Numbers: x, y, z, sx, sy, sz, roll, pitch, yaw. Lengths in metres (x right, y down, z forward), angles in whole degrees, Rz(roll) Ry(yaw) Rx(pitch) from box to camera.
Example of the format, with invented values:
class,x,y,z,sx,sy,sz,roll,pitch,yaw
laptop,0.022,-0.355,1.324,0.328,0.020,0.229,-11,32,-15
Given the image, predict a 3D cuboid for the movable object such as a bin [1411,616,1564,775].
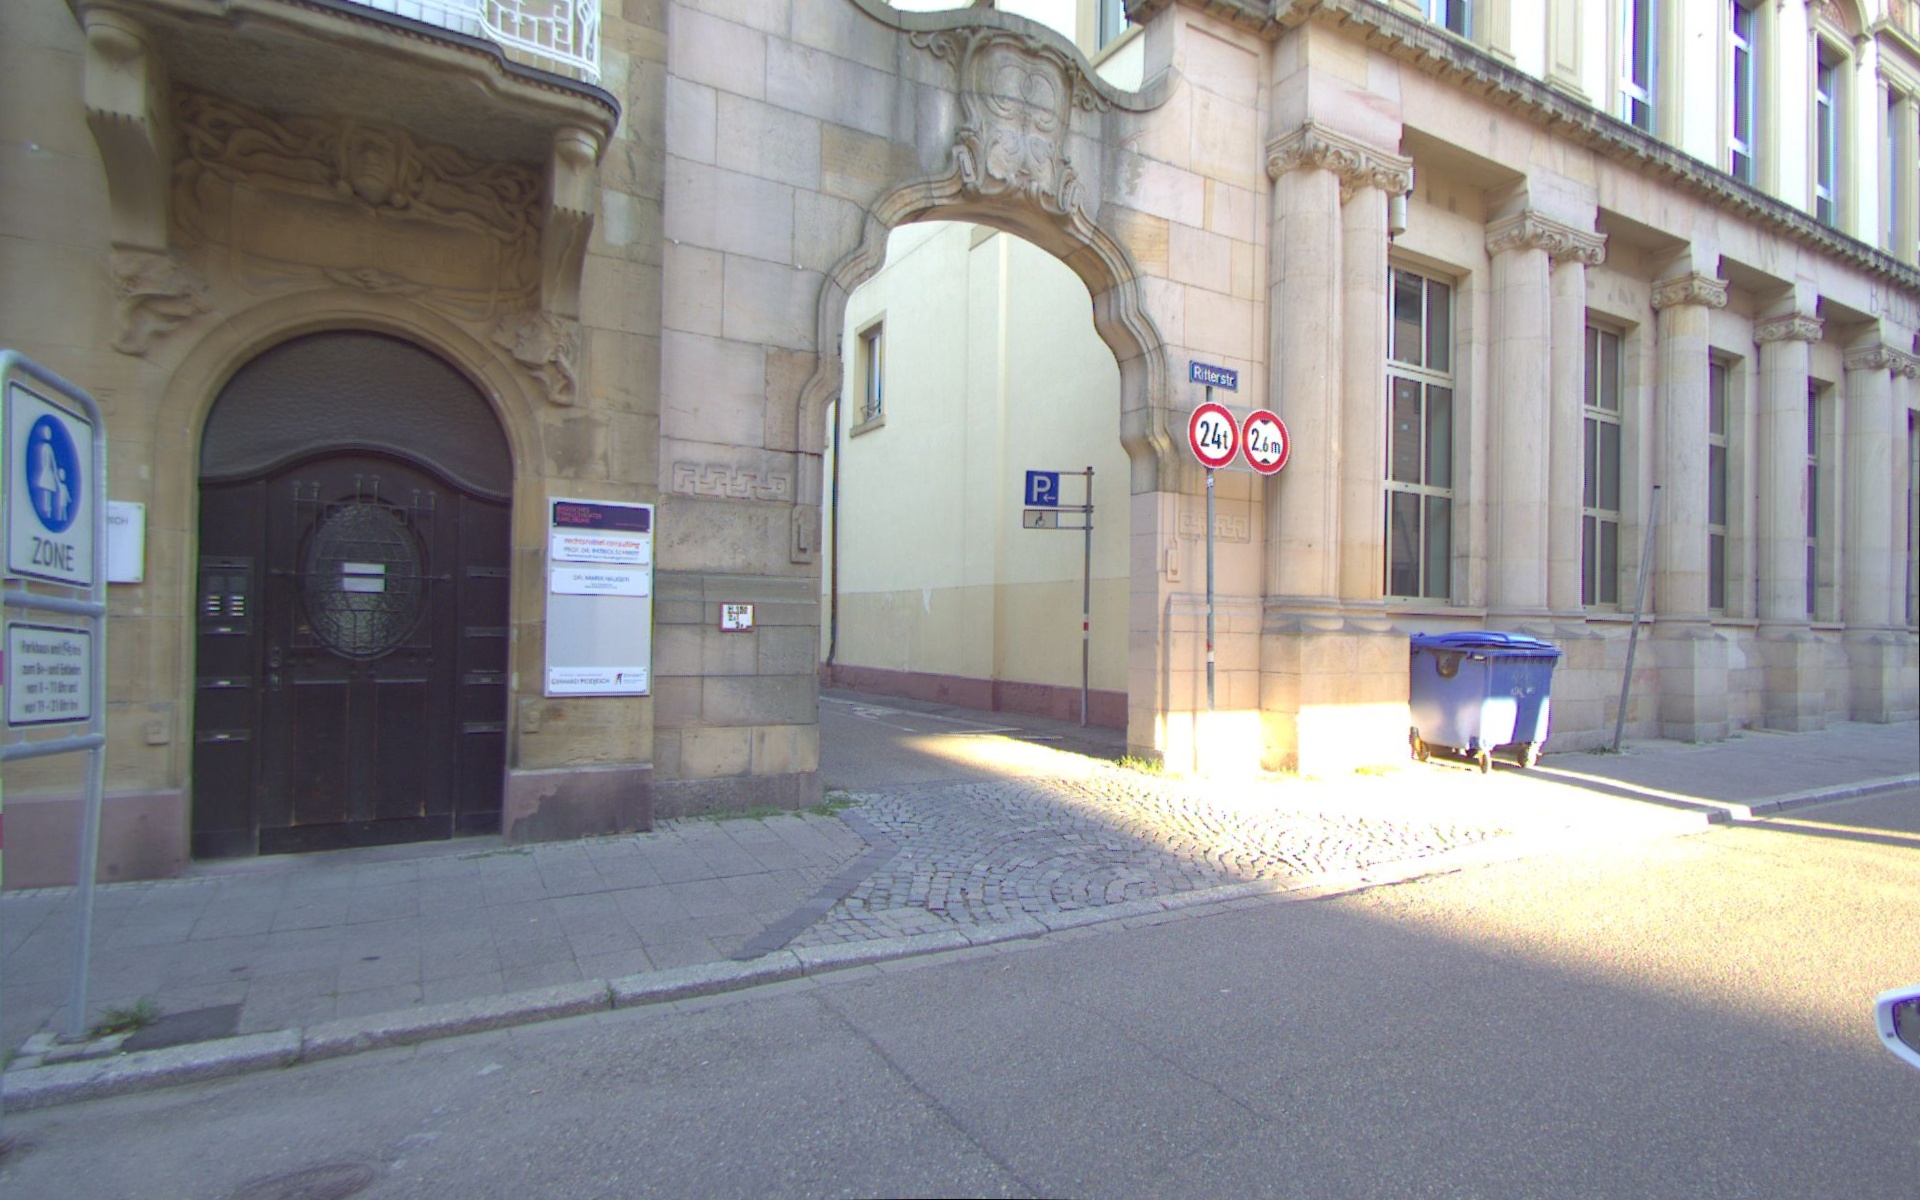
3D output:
class,x,y,z,sx,sy,sz,roll,pitch,yaw
movable object such as a bin,5.408,0.932,10.305,1.275,1.523,0.825,1,-1,-29
